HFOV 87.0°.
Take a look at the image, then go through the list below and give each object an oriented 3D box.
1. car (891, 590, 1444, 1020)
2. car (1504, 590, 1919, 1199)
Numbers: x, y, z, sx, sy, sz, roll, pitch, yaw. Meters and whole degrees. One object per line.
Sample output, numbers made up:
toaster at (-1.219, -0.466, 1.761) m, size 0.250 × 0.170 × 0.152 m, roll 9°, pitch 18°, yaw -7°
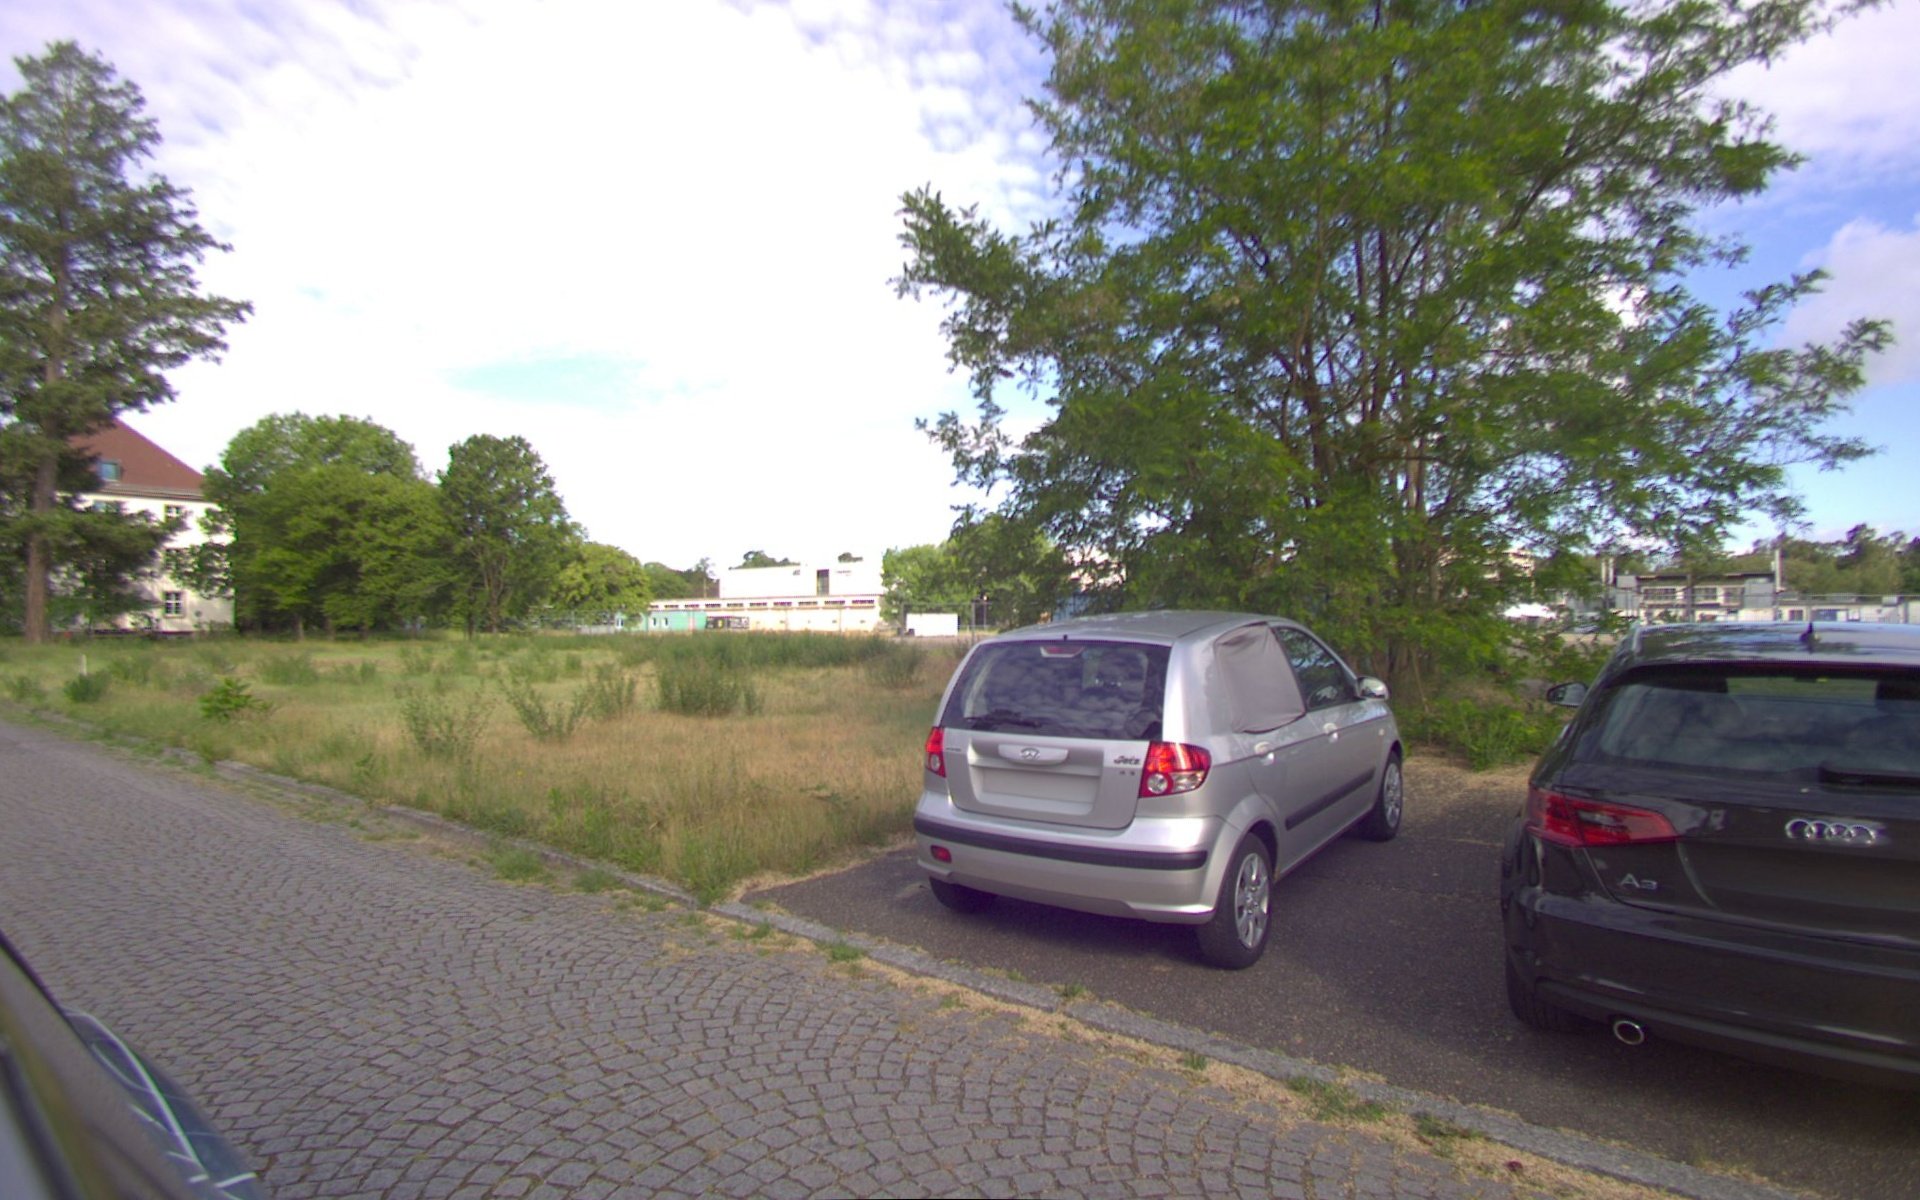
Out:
car at (1.405, 0.745, 5.602) m, size 1.644 × 1.486 × 3.544 m, roll -1°, pitch 1°, yaw 36°
car at (3.467, 0.721, 3.982) m, size 1.693 × 1.419 × 3.799 m, roll -1°, pitch 1°, yaw 38°
